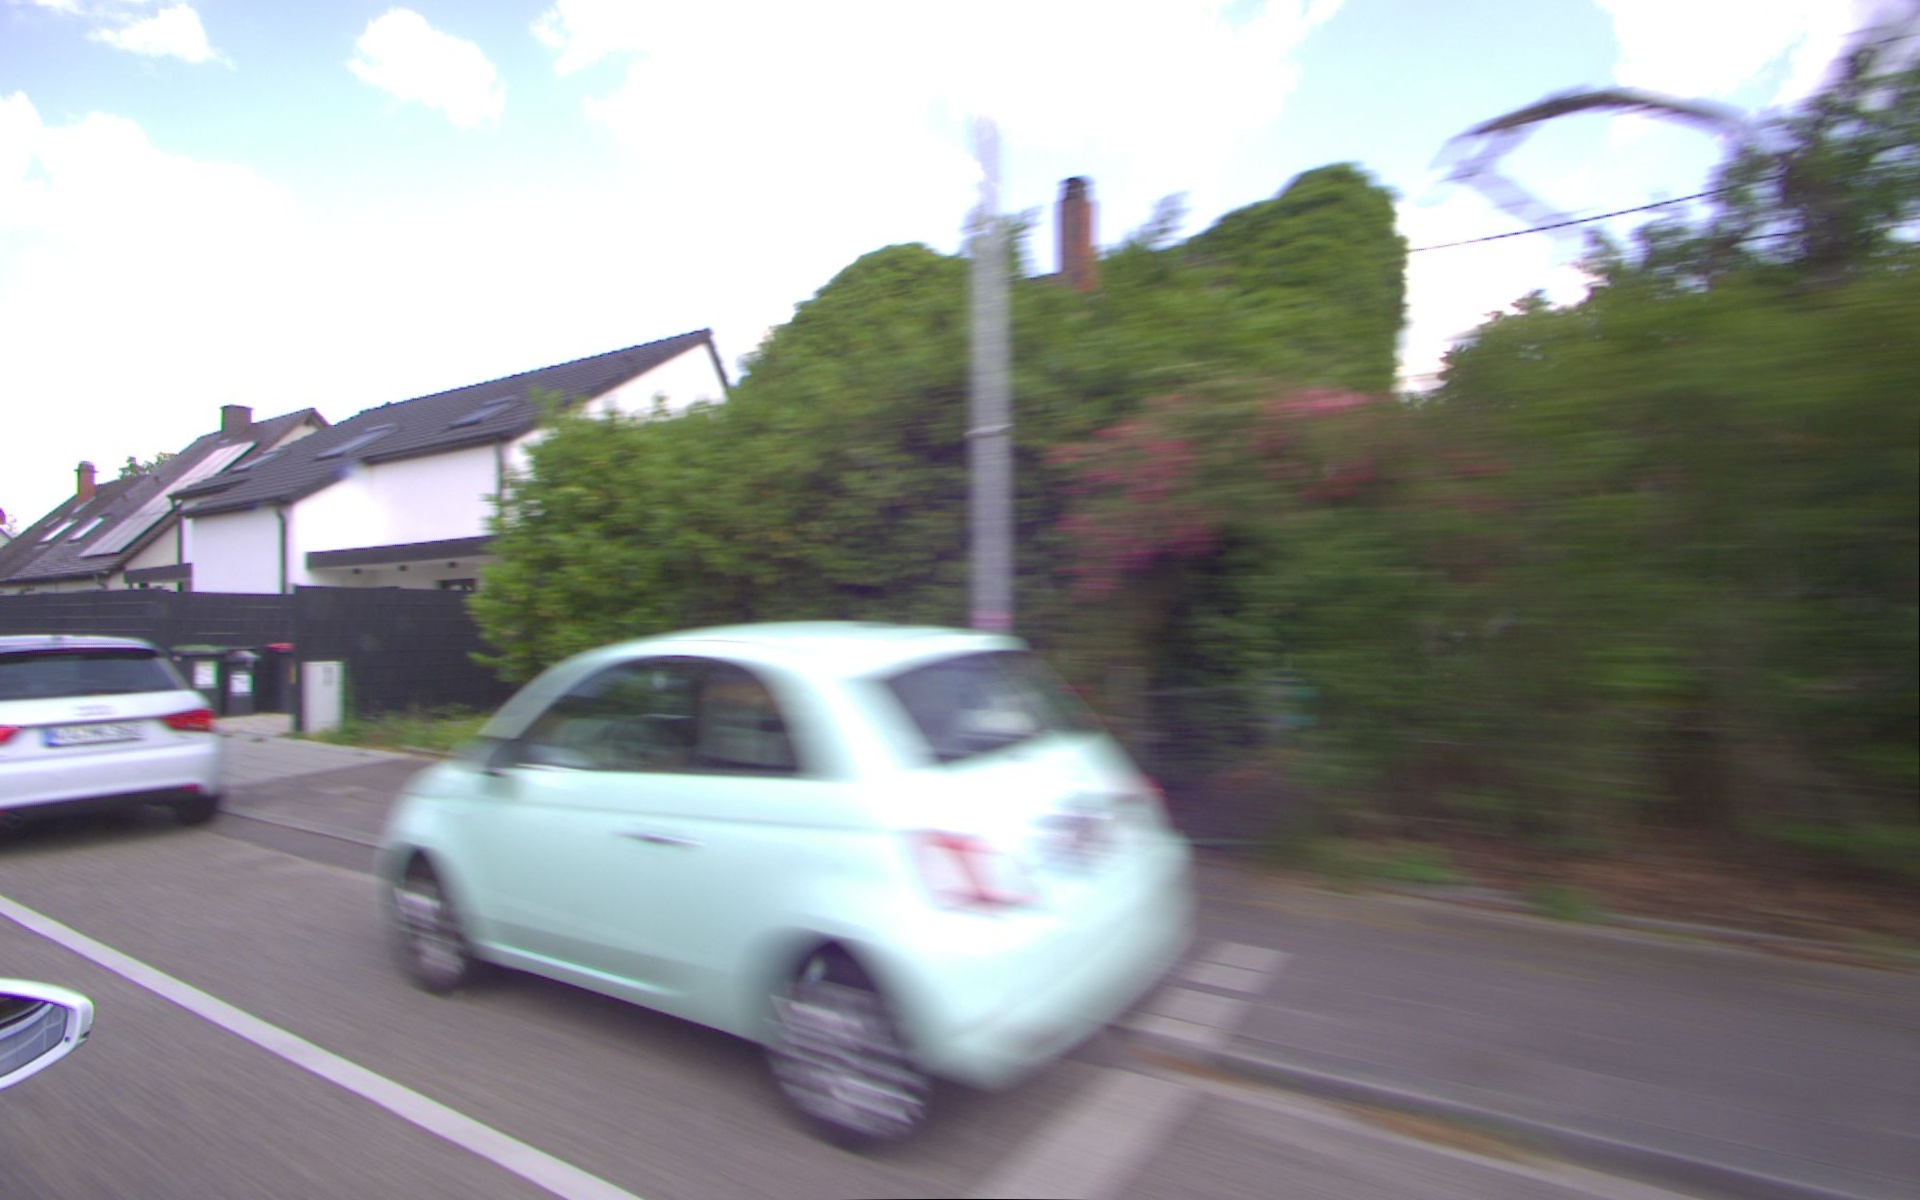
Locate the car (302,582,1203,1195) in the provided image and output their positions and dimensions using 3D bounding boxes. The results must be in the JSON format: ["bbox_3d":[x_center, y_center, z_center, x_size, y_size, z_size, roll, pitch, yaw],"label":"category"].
[{"bbox_3d":[-1.036,0.766,4.212,3.703,1.539,1.578,-1,-1,34],"label":"car"}]

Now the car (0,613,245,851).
[{"bbox_3d":[-7.283,0.872,7.824,3.700,1.505,1.716,-1,-2,37],"label":"car"}]

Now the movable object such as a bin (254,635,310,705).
[{"bbox_3d":[-10.461,1.066,15.461,0.621,1.052,0.515,0,-1,33],"label":"movable object such as a bin"}]

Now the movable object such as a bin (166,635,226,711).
[{"bbox_3d":[-11.060,1.043,14.496,0.621,1.052,0.515,0,-1,33],"label":"movable object such as a bin"}]

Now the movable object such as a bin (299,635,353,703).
[{"bbox_3d":[-10.084,1.087,15.929,0.621,1.052,0.515,0,-1,33],"label":"movable object such as a bin"}]

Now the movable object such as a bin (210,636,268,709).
[{"bbox_3d":[-10.772,1.063,14.959,0.621,1.052,0.515,0,-1,33],"label":"movable object such as a bin"}]
